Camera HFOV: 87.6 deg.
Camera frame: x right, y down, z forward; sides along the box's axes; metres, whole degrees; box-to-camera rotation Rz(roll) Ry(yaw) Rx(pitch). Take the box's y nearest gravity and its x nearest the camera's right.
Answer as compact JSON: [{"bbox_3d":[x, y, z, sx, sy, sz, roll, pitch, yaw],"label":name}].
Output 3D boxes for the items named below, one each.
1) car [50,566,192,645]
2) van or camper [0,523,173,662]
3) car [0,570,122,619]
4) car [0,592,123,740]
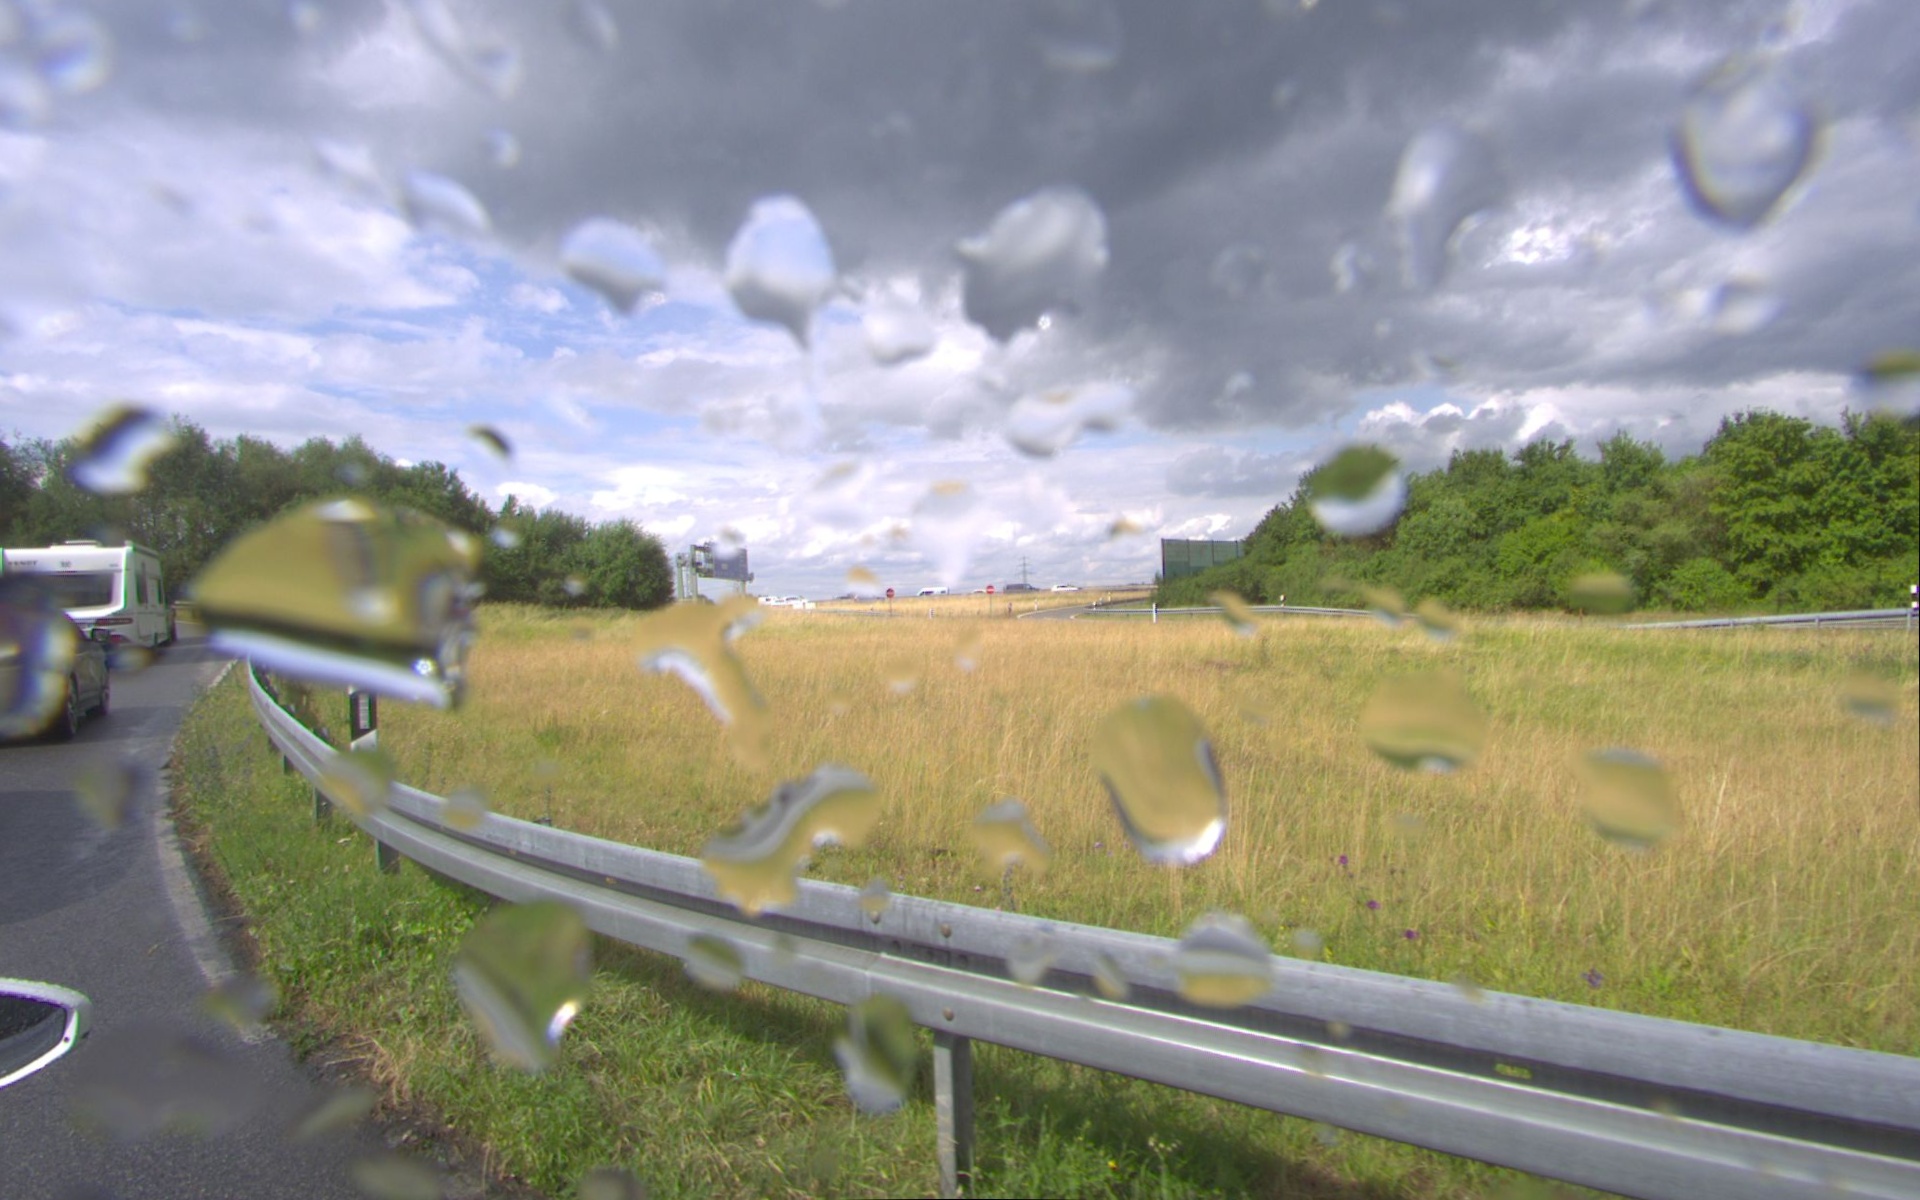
[{"bbox_3d":[-23.225,0.067,27.988,2.404,1.952,5.720,0,2,-34],"label":"car"},{"bbox_3d":[-20.002,-0.197,23.043,2.406,2.766,5.962,0,1,-33],"label":"van or camper"},{"bbox_3d":[-38.072,-0.231,42.347,4.973,1.886,1.994,-2,1,23],"label":"car"},{"bbox_3d":[-11.442,0.712,11.965,1.700,1.545,3.975,-1,1,-33],"label":"car"}]
